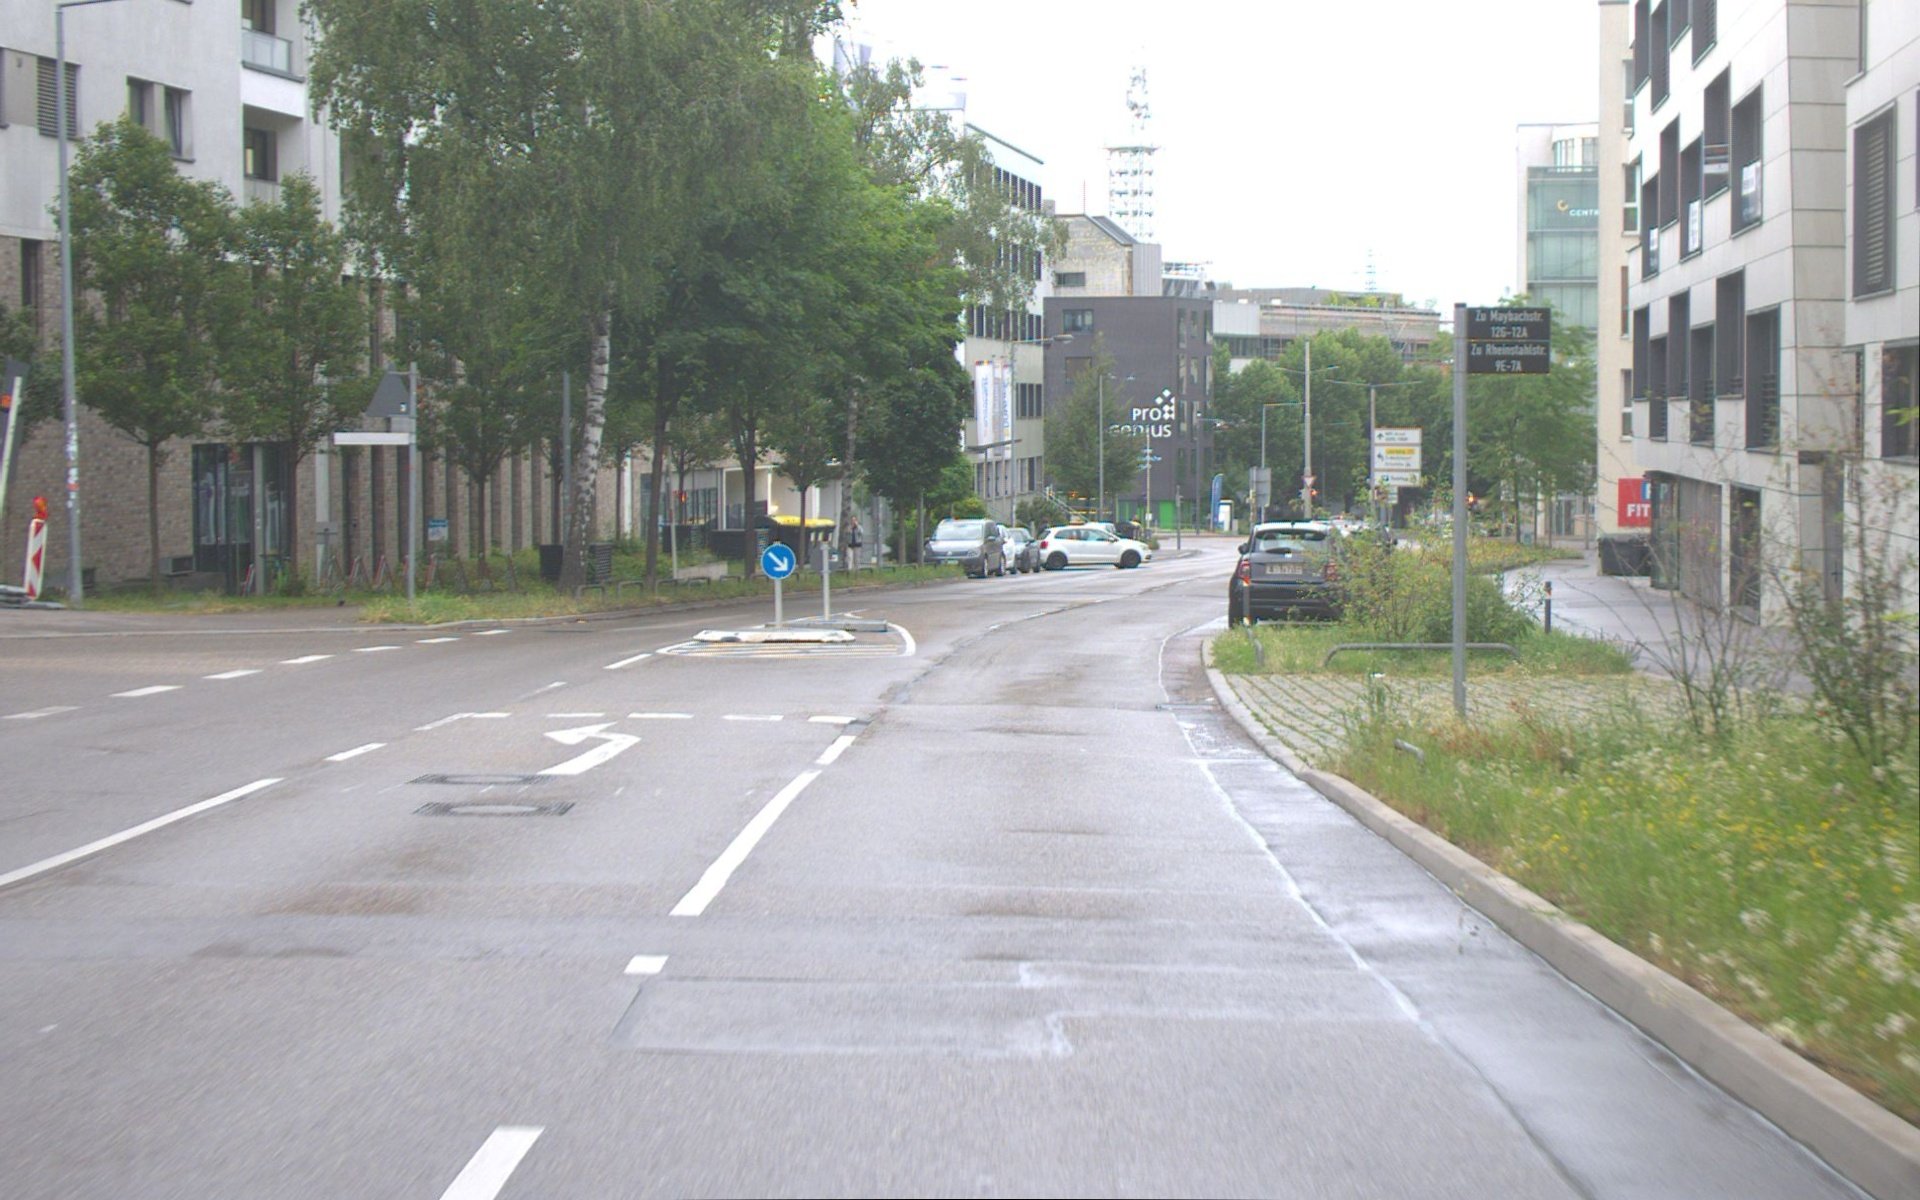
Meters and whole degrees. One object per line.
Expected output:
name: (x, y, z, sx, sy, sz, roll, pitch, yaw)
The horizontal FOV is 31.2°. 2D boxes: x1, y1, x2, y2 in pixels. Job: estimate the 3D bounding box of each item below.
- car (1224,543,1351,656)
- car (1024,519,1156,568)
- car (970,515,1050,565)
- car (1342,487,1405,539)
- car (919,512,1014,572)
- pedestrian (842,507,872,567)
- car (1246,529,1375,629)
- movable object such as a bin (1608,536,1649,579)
car: (4.737, -0.041, 49.416, 1.546, 1.473, 3.659, 1, 2, 9)
car: (4.283, -1.879, 113.833, 3.982, 1.571, 2.001, 0, 2, -12)
car: (1.564, -1.843, 106.478, 1.797, 1.511, 4.244, 1, 1, 10)
car: (14.286, -2.996, 118.640, 1.994, 1.744, 3.671, 1, 2, 9)
car: (0.221, -1.652, 96.266, 2.078, 1.603, 4.684, 0, 2, 7)
pedestrian: (-2.893, -1.783, 96.738, 0.708, 1.677, 0.956, 1, 2, 5)
car: (5.559, -0.343, 54.172, 1.808, 1.479, 4.494, 1, 1, 8)
movable object such as a bin: (20.360, -1.295, 104.708, 1.235, 1.315, 1.191, 0, 0, 11)
